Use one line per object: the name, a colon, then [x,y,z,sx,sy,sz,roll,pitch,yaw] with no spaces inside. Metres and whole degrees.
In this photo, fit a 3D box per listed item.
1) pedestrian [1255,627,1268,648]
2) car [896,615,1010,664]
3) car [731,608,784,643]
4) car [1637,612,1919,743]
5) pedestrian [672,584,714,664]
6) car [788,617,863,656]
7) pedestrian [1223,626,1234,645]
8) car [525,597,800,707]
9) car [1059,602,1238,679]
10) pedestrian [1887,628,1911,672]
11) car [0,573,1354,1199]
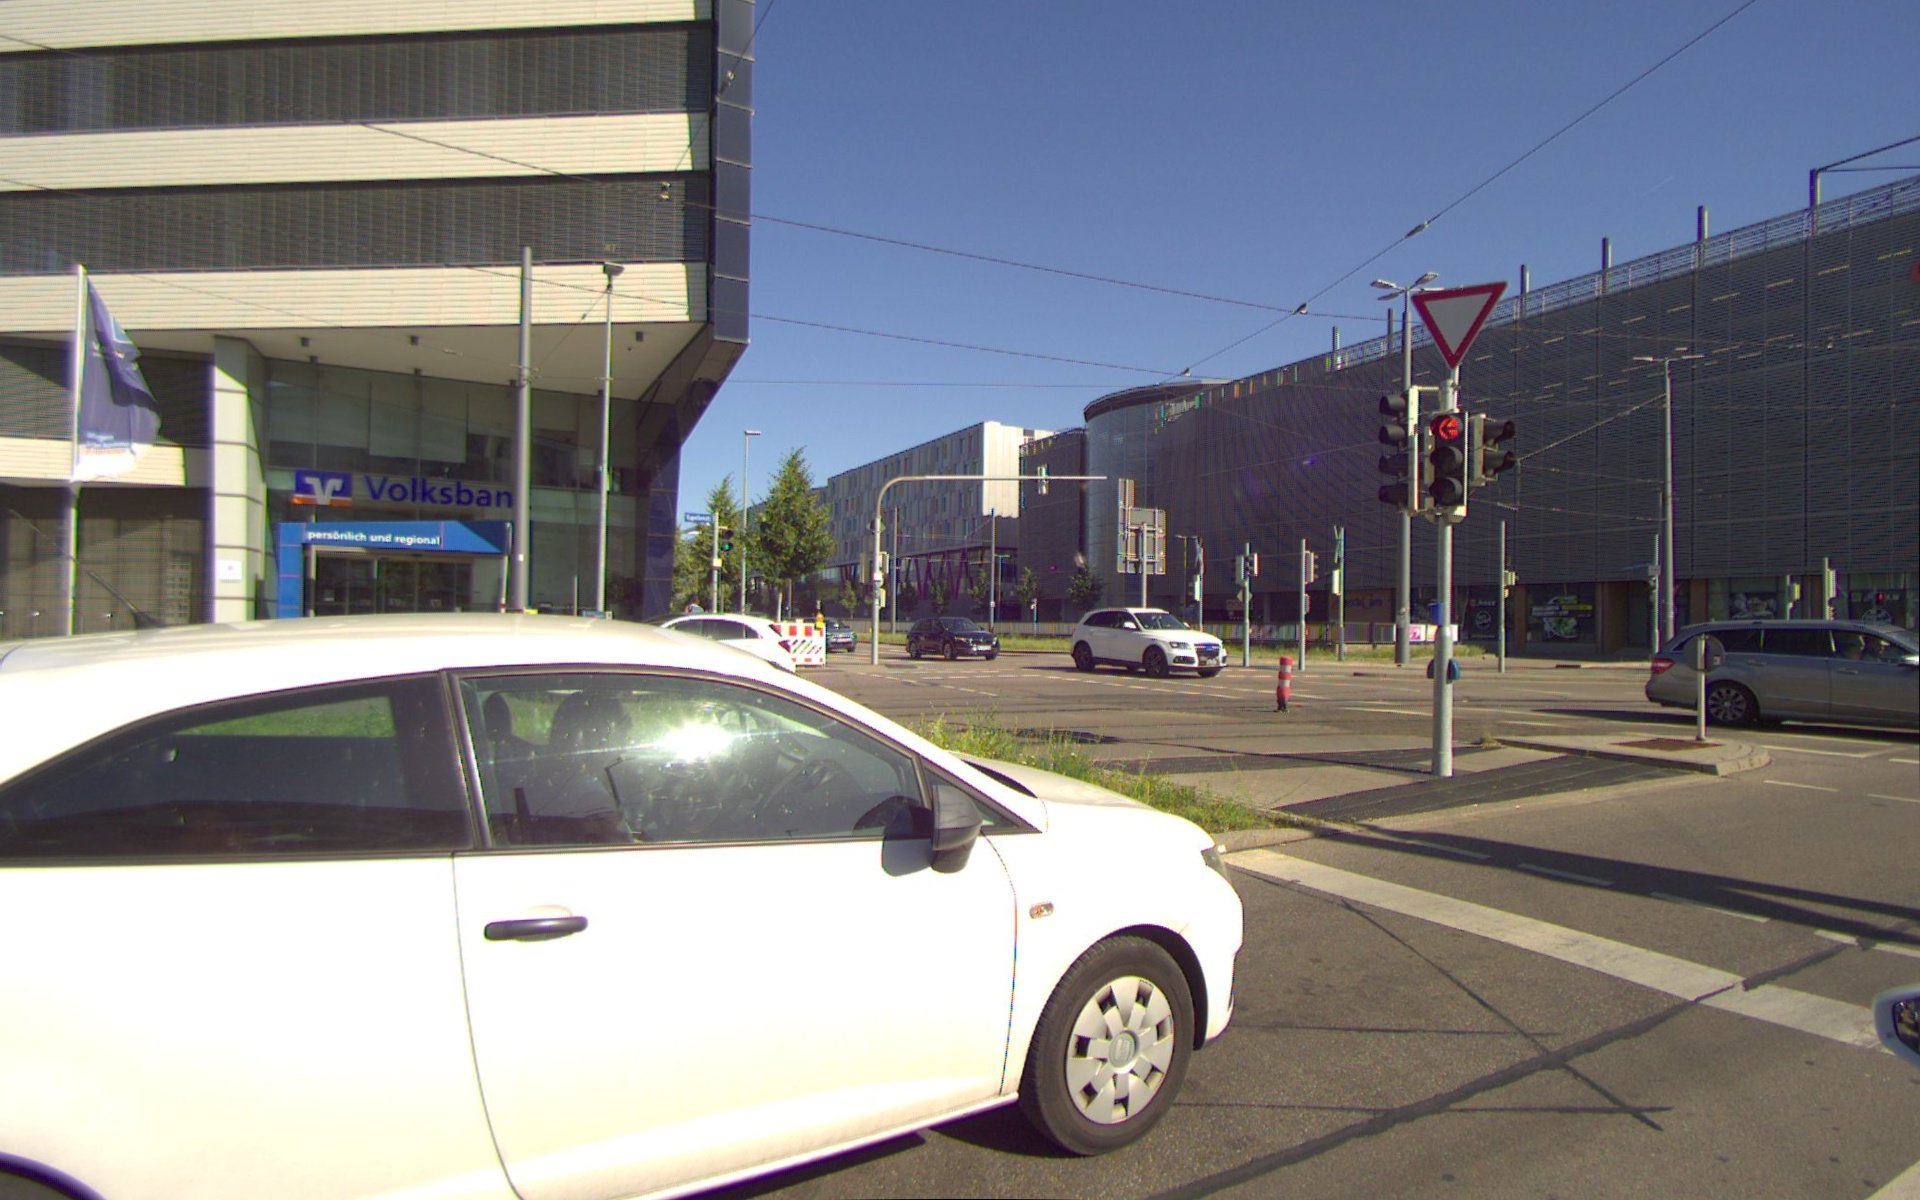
pedestrian: [23.418,2.921,77.922,0.642,1.622,0.658,2,0,-24]
car: [-0.327,1.312,34.429,1.812,1.481,4.645,1,0,-31]
car: [-11.166,1.392,55.207,1.688,1.815,4.440,1,-1,-28]
car: [12.073,0.971,13.383,1.689,1.593,4.826,1,-1,-34]
pedestrian: [-5.919,0.539,22.263,0.731,1.719,0.802,1,-2,-29]
car: [-6.003,1.573,44.361,1.690,1.534,4.241,1,0,-32]
pedestrian: [23.155,3.046,86.711,0.586,1.622,0.658,2,0,-24]
car: [-5.000,0.830,17.090,4.140,1.668,1.808,1,-1,-35]
car: [4.587,0.972,25.143,1.914,1.729,4.649,1,-2,-29]
pedestrian: [39.963,2.118,42.728,0.687,1.821,0.726,-2,-3,44]
car: [-0.960,0.738,2.787,3.977,1.460,1.723,2,1,-31]
